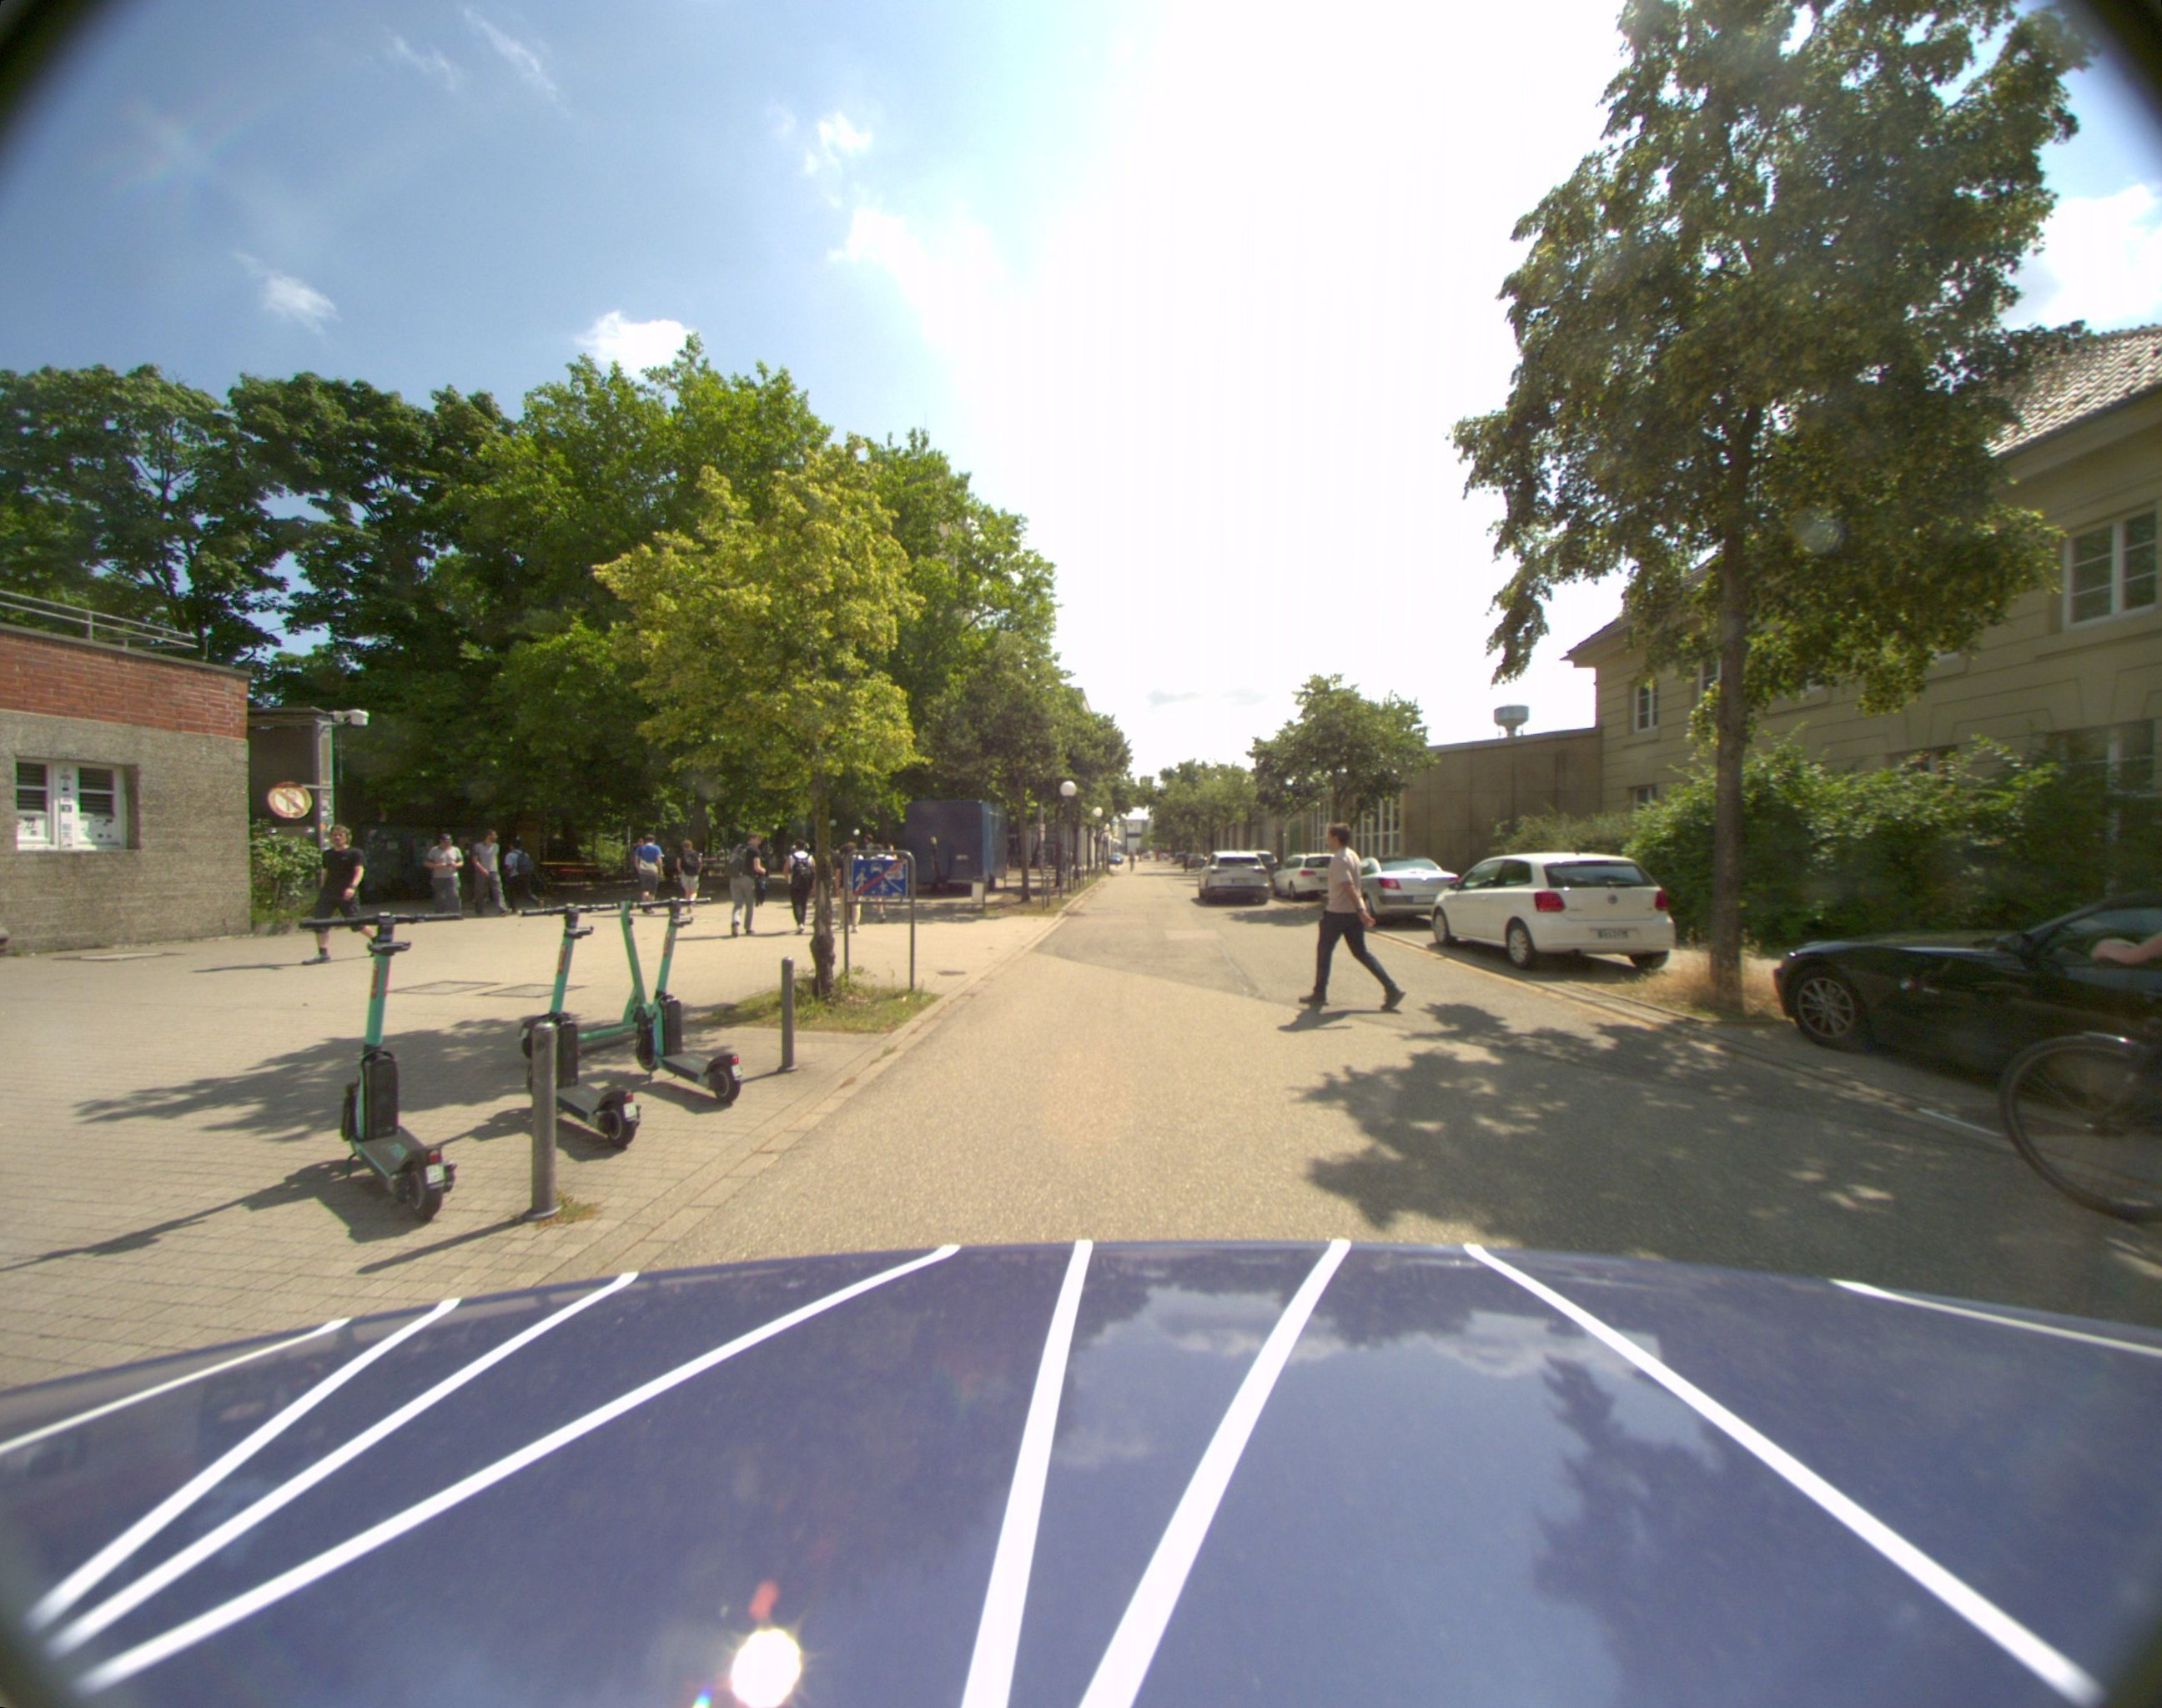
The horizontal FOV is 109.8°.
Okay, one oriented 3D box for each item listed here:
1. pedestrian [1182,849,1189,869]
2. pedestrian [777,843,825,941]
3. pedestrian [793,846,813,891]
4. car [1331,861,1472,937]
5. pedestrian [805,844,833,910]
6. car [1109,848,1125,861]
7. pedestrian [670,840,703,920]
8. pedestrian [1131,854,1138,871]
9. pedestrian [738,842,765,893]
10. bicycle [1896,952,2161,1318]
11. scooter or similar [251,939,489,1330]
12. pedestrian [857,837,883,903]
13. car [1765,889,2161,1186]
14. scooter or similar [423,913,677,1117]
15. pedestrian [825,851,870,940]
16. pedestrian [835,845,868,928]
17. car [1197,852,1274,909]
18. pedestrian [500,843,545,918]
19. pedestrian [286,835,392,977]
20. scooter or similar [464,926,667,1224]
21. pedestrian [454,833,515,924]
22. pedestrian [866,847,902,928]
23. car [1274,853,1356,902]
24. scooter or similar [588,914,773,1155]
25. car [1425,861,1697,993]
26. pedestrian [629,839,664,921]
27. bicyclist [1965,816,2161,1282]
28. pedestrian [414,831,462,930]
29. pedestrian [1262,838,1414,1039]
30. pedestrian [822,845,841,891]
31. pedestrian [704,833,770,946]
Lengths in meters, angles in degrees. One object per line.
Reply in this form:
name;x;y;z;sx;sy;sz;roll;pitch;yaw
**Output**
pedestrian;8.888;0.445;64.634;0.537;1.672;0.586;1;1;14
pedestrian;-5.270;0.699;14.300;0.783;1.781;0.713;0;1;-25
pedestrian;-9.753;0.499;26.662;0.640;1.548;0.574;0;1;-20
car;6.668;0.855;16.259;1.647;1.368;4.001;0;0;5
pedestrian;-6.819;0.587;19.787;0.640;1.697;0.713;0;1;-23
car;4.680;0.052;99.313;1.998;1.648;4.000;0;0;3
pedestrian;-8.935;0.574;17.228;0.541;1.783;0.643;0;1;-14
pedestrian;4.468;0.692;63.492;0.585;1.433;0.639;0;0;6
pedestrian;-11.479;0.468;26.500;0.669;1.755;0.797;-1;0;-10
bicycle;4.007;1.021;2.555;0.626;1.135;1.812;0;1;3
scooter or similar;-3.124;1.052;3.302;1.352;1.223;0.577;1;0;39
pedestrian;-6.106;0.457;21.950;0.640;1.859;0.536;0;1;-23
car;6.006;0.927;3.961;1.700;1.287;3.763;0;0;5
scooter or similar;-3.799;1.075;5.582;0.575;1.173;1.480;1;0;18
pedestrian;-4.538;0.773;14.744;0.752;1.663;0.844;0;0;-24
pedestrian;-4.992;0.692;16.510;0.603;1.742;0.763;0;1;-24
car;4.836;0.762;24.342;1.932;1.624;4.374;0;0;5
pedestrian;-12.569;0.606;17.092;0.777;1.645;0.567;-3;-1;35
pedestrian;-9.590;0.643;9.853;0.586;1.768;0.798;0;2;-6
scooter or similar;-2.737;1.054;4.008;1.140;1.236;0.577;1;0;39
pedestrian;-12.646;0.529;16.107;0.970;1.875;0.670;-3;-1;29
pedestrian;-4.354;0.717;16.780;0.623;1.729;0.773;0;1;-24
car;7.393;0.688;24.383;1.717;1.424;4.001;0;0;5
scooter or similar;-2.555;1.044;4.805;1.261;1.226;0.577;1;0;39
car;6.242;0.845;10.416;1.634;1.423;3.634;0;0;4
pedestrian;-9.677;0.560;16.937;0.566;1.783;0.643;0;1;-18
bicyclist;4.017;0.668;2.519;0.629;1.597;1.329;0;1;3
pedestrian;-12.971;0.534;15.317;0.888;1.917;0.567;-3;-2;40
pedestrian;2.516;0.747;7.428;1.092;1.776;0.985;1;1;42
pedestrian;-8.884;0.483;27.068;0.640;1.629;0.562;0;1;-16
pedestrian;-6.172;0.612;13.613;0.984;1.934;0.976;0;1;-30
